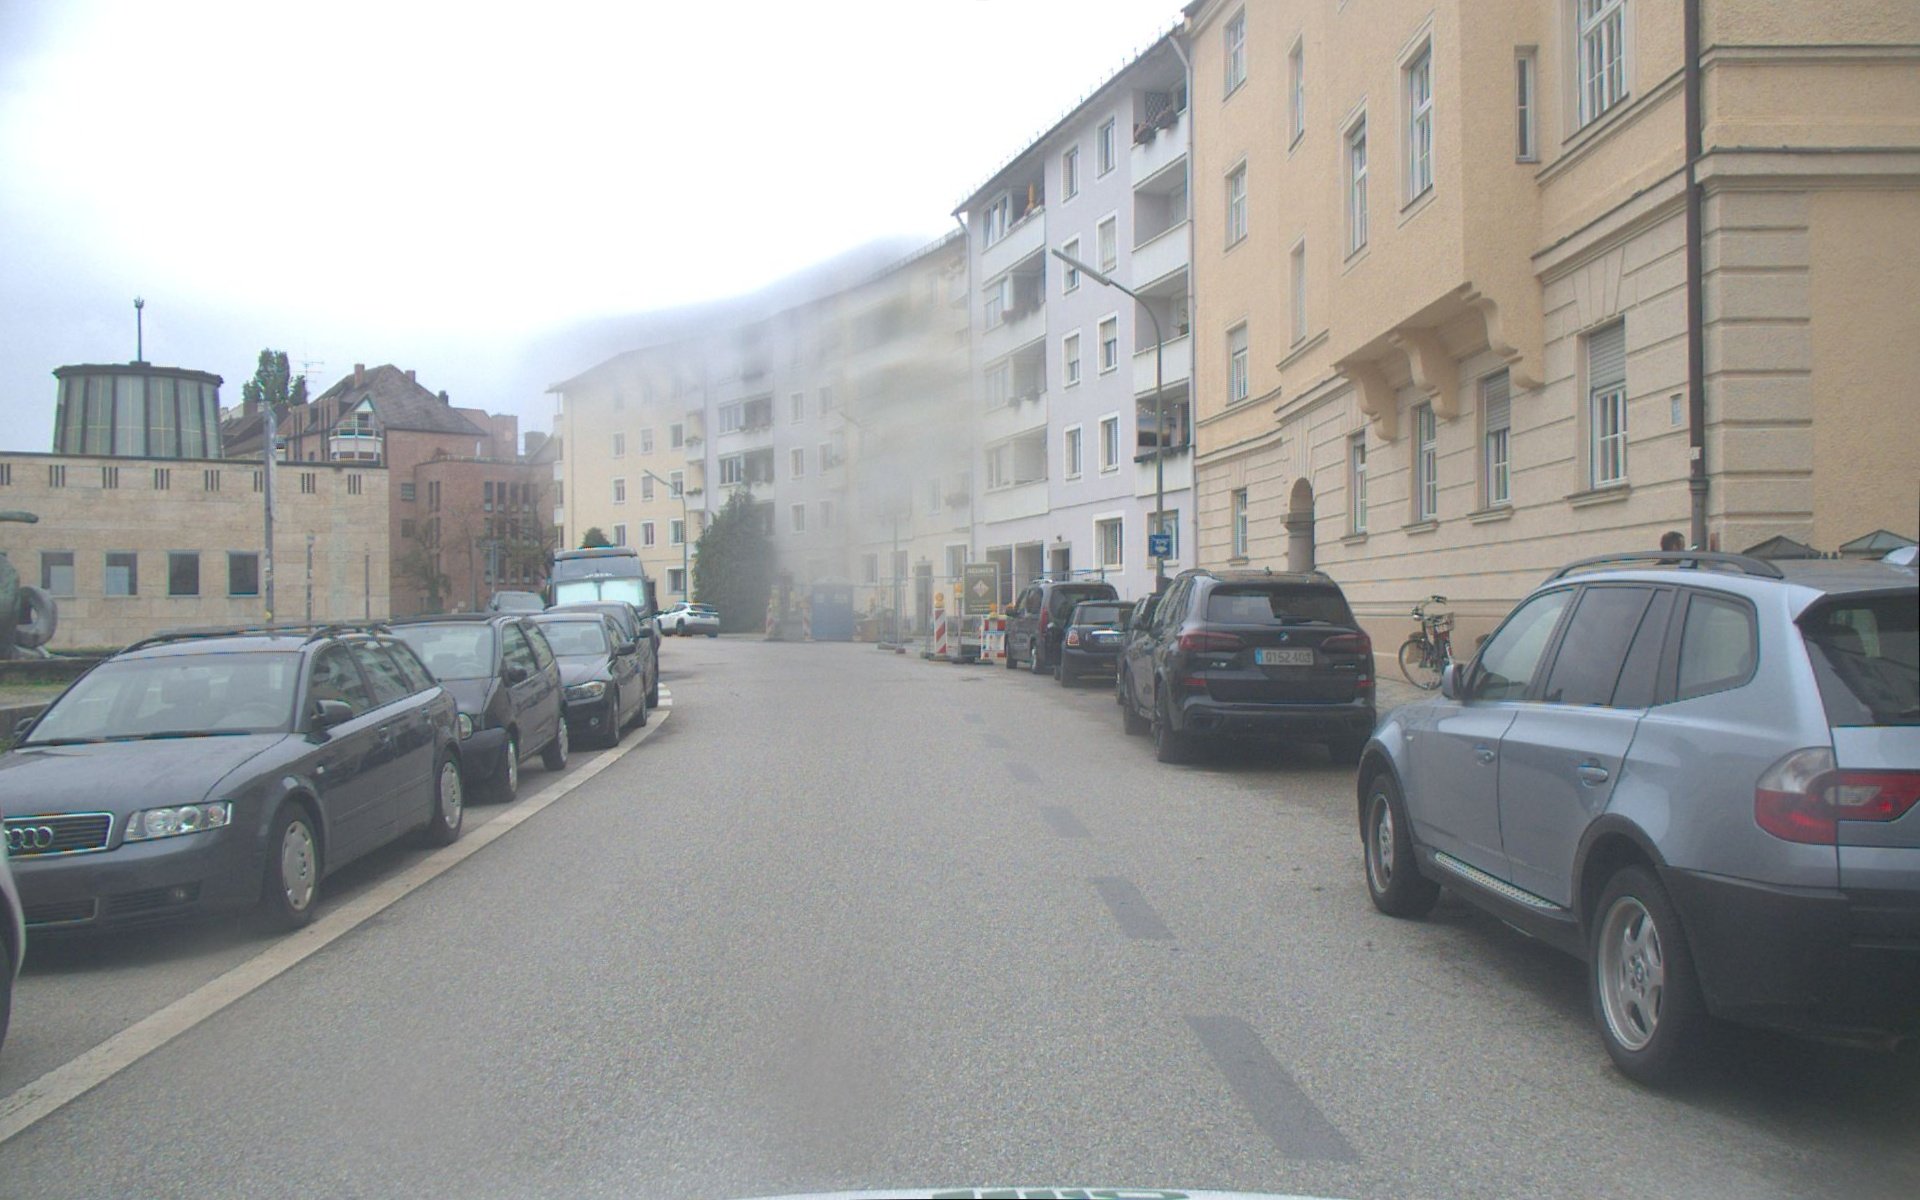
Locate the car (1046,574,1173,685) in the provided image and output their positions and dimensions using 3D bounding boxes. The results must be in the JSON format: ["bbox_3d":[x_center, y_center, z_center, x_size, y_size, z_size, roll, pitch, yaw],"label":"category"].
[{"bbox_3d":[2.520,0.502,28.661,1.799,1.760,3.729,1,-1,-1],"label":"car"}]

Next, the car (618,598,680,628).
[{"bbox_3d":[-15.616,0.671,82.985,1.645,1.373,3.755,2,-2,-36],"label":"car"}]

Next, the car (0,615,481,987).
[{"bbox_3d":[-3.973,0.867,9.001,1.687,1.507,4.202,-2,0,-3],"label":"car"}]

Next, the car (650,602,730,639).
[{"bbox_3d":[-12.934,0.961,78.947,2.009,1.707,4.556,2,-1,-35],"label":"car"}]

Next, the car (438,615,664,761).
[{"bbox_3d":[-4.460,0.894,18.624,1.687,1.388,4.209,-2,0,-3],"label":"car"}]

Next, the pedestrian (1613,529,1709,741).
[{"bbox_3d":[6.118,0.299,14.421,0.670,1.791,0.692,1,-1,30],"label":"pedestrian"}]

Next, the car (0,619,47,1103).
[{"bbox_3d":[-3.856,0.857,3.577,1.687,1.557,3.997,-2,0,-3],"label":"car"}]

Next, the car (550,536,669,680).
[{"bbox_3d":[-7.270,0.148,33.871,2.108,2.619,6.188,-2,0,-14],"label":"car"}]

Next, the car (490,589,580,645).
[{"bbox_3d":[-14.320,0.540,55.550,1.970,1.803,4.773,0,0,-26],"label":"car"}]

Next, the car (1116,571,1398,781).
[{"bbox_3d":[2.759,0.608,16.471,1.888,1.760,4.687,1,1,-1],"label":"car"}]

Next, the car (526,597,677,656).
[{"bbox_3d":[-9.965,0.758,46.207,1.644,1.557,3.963,1,-1,39],"label":"car"}]

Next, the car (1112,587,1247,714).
[{"bbox_3d":[2.923,0.650,22.431,1.476,1.584,2.863,1,-1,1],"label":"car"}]

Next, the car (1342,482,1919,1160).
[{"bbox_3d":[2.916,0.609,6.524,1.741,1.760,4.389,1,-1,-1],"label":"car"}]

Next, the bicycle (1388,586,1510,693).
[{"bbox_3d":[6.130,0.478,20.901,0.687,1.268,2.644,0,-1,-1],"label":"bicycle"}]

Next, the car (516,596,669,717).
[{"bbox_3d":[-5.026,0.739,22.923,1.634,1.485,2.865,-3,0,-5],"label":"car"}]

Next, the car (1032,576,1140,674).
[{"bbox_3d":[2.488,0.501,33.597,1.799,1.830,4.237,1,-1,-1],"label":"car"}]

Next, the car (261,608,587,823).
[{"bbox_3d":[-4.351,0.860,14.006,1.687,1.507,3.751,-2,0,-3],"label":"car"}]
